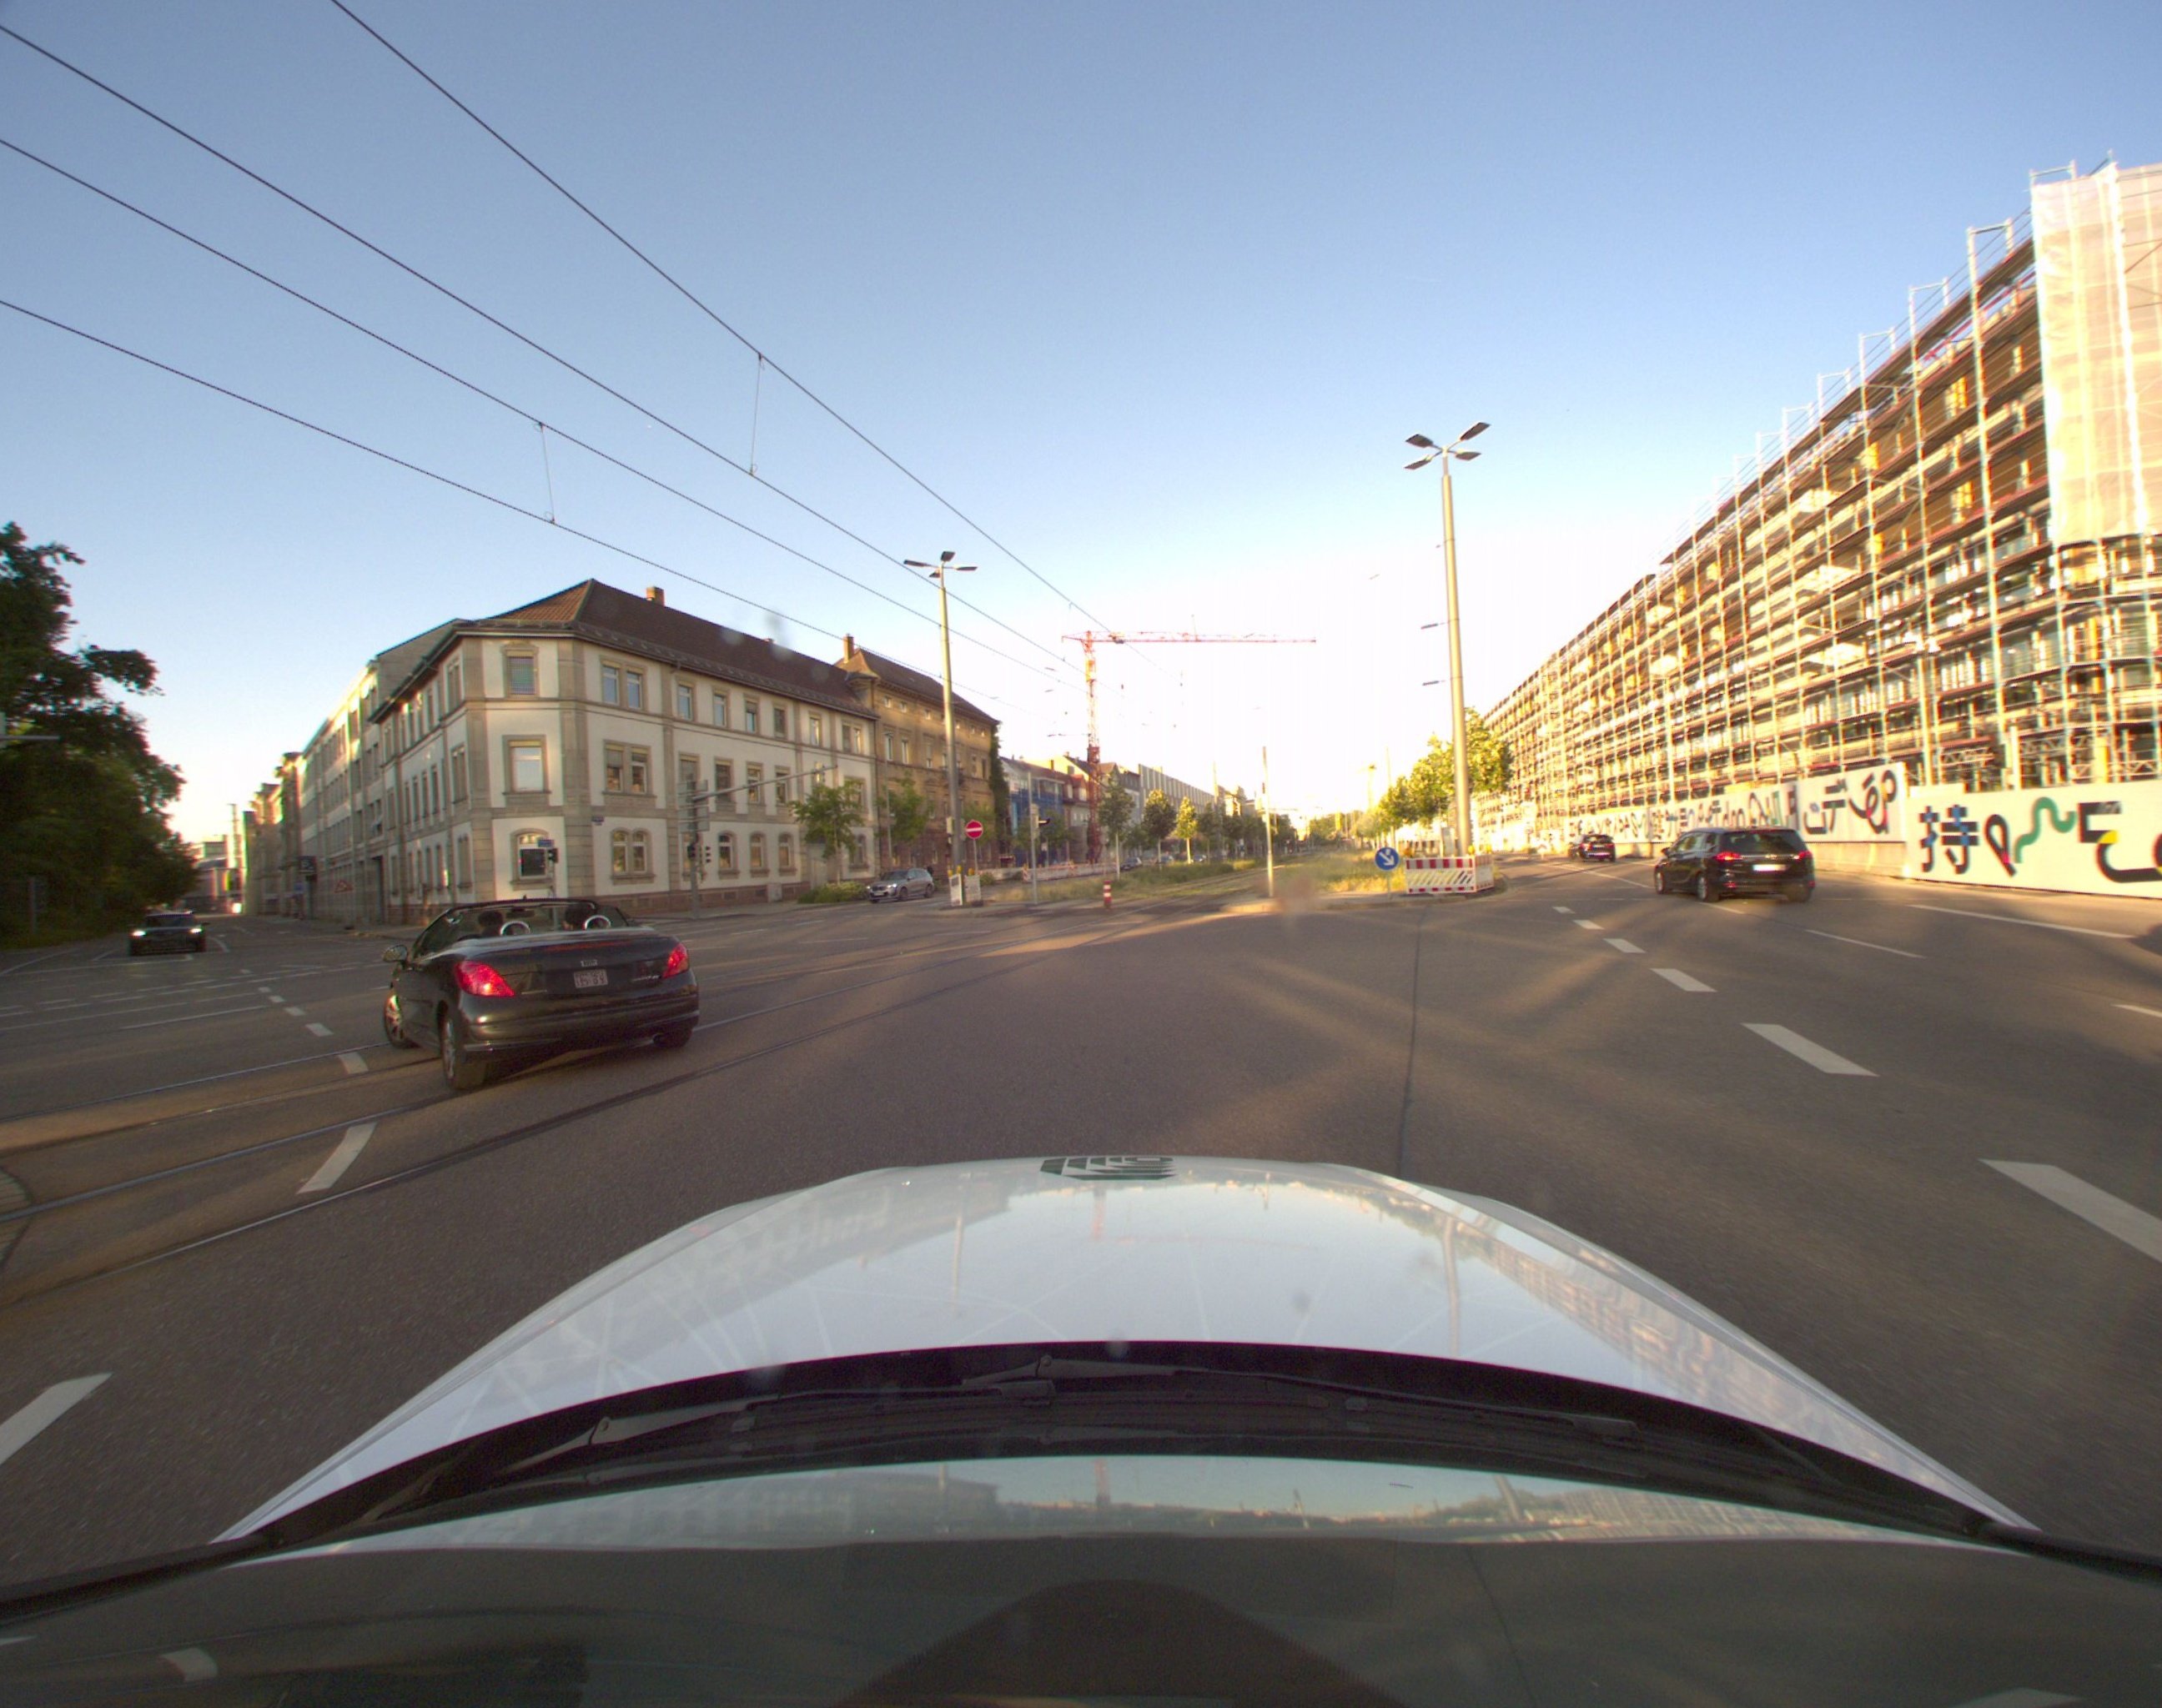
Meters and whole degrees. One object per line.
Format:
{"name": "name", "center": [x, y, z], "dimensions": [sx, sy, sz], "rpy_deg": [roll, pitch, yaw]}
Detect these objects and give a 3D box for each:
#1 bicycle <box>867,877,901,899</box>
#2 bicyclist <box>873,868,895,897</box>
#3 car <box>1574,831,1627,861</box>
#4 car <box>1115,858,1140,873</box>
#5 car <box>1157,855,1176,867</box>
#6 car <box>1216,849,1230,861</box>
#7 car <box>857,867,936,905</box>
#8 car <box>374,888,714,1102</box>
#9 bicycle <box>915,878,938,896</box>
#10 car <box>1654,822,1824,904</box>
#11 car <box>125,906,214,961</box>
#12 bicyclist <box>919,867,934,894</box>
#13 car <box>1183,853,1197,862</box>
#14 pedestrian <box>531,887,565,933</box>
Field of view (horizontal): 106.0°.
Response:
{"name": "bicycle", "center": [-11.134, 1.911, 46.117], "dimensions": [0.842, 1.124, 2.423], "rpy_deg": [-1, 1, 12]}
{"name": "bicyclist", "center": [-11.138, 1.630, 46.113], "dimensions": [0.842, 1.592, 1.003], "rpy_deg": [-1, 0, 12]}
{"name": "car", "center": [28.729, -0.456, 45.162], "dimensions": [1.804, 1.518, 4.819], "rpy_deg": [-2, 0, 25]}
{"name": "car", "center": [4.941, 1.248, 86.371], "dimensions": [1.644, 1.431, 3.913], "rpy_deg": [-1, 1, 19]}
{"name": "car", "center": [11.226, 0.890, 106.866], "dimensions": [1.644, 1.431, 3.913], "rpy_deg": [-1, 1, 19]}
{"name": "car", "center": [23.131, 0.131, 132.386], "dimensions": [1.644, 1.963, 4.287], "rpy_deg": [-1, 1, 19]}
{"name": "car", "center": [-9.267, 1.589, 41.306], "dimensions": [1.978, 1.580, 4.143], "rpy_deg": [-4, 0, 18]}
{"name": "car", "center": [-5.075, 1.071, 7.457], "dimensions": [3.949, 1.352, 1.690], "rpy_deg": [-4, -2, 43]}
{"name": "bicycle", "center": [-9.079, 1.940, 47.895], "dimensions": [0.585, 0.975, 1.563], "rpy_deg": [-1, 1, 18]}
{"name": "car", "center": [14.534, 0.159, 18.285], "dimensions": [1.807, 1.598, 4.391], "rpy_deg": [-1, 1, 23]}
{"name": "car", "center": [-32.992, 2.812, 29.582], "dimensions": [1.800, 1.555, 3.951], "rpy_deg": [-2, 1, -43]}
{"name": "bicyclist", "center": [-9.087, 1.539, 47.883], "dimensions": [0.585, 1.569, 0.714], "rpy_deg": [-1, 0, 18]}
{"name": "car", "center": [17.984, 0.516, 134.111], "dimensions": [1.644, 1.431, 3.913], "rpy_deg": [-1, 1, 19]}
{"name": "pedestrian", "center": [-20.759, 2.182, 31.719], "dimensions": [0.806, 1.715, 0.705], "rpy_deg": [-1, 0, 5]}
